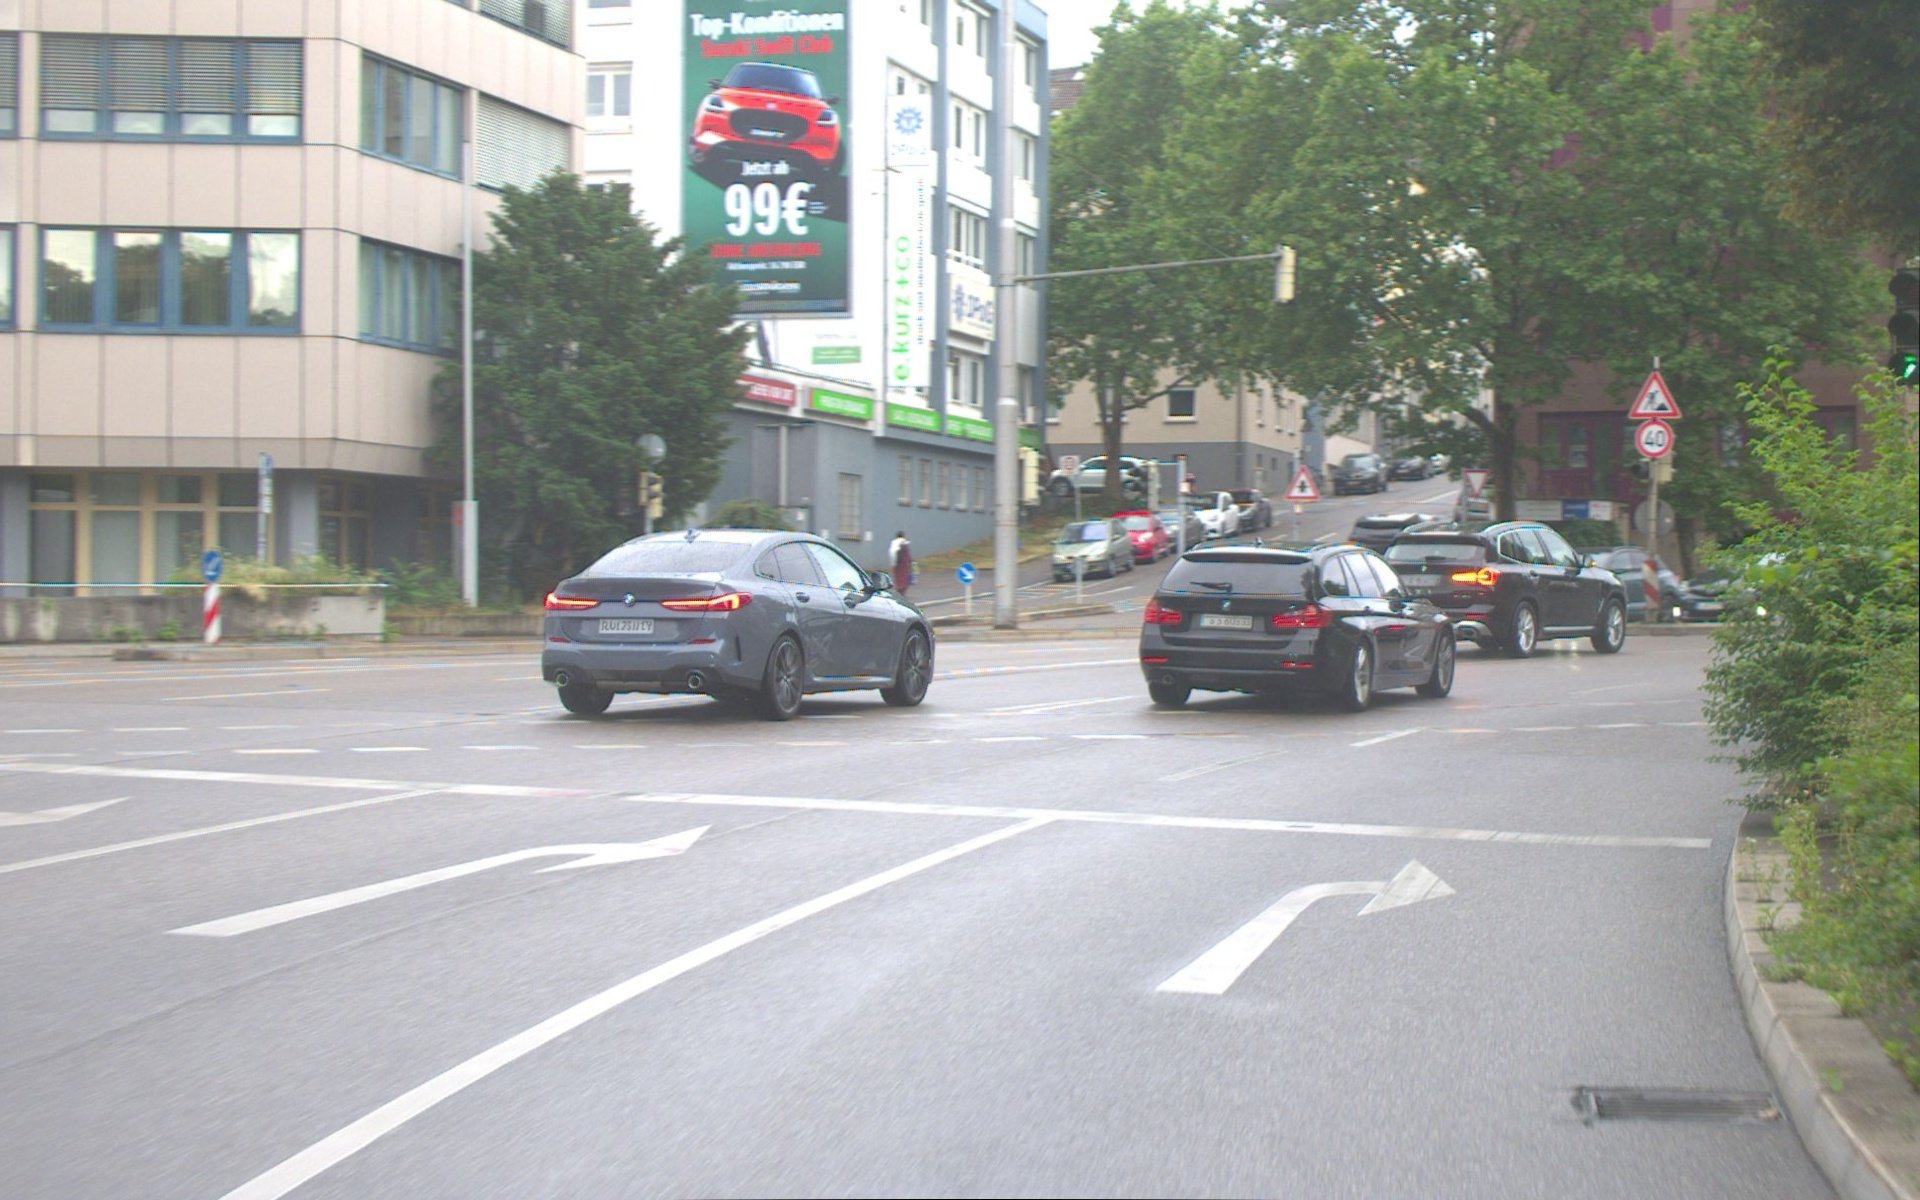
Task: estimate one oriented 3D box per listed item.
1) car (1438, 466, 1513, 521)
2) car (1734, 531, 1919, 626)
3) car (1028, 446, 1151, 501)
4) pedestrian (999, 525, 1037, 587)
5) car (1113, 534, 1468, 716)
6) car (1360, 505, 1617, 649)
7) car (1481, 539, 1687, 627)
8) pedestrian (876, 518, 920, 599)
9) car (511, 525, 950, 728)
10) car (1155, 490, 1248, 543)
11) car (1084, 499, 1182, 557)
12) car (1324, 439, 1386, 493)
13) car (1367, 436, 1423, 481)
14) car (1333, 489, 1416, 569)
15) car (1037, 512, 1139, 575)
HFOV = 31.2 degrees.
[{"bbox_3d":[17.185,-3.557,114.489,1.932,1.668,3.998,0,4,16],"label":"car"},{"bbox_3d":[15.748,-0.391,61.795,1.857,1.617,4.582,-1,0,37],"label":"car"},{"bbox_3d":[4.927,-4.794,130.494,4.419,1.999,1.999,0,0,11],"label":"car"},{"bbox_3d":[1.643,-1.240,96.936,0.839,1.712,0.981,0,0,16],"label":"pedestrian"},{"bbox_3d":[2.955,0.151,29.775,1.793,1.421,4.608,2,2,22],"label":"car"},{"bbox_3d":[6.568,-0.263,42.405,1.903,1.688,3.994,0,0,28],"label":"car"},{"bbox_3d":[11.111,-0.294,61.025,1.821,1.507,4.223,0,0,39],"label":"car"},{"bbox_3d":[-1.539,-1.021,85.467,0.839,2.007,0.981,0,0,16],"label":"pedestrian"},{"bbox_3d":[-1.684,0.153,26.873,1.792,1.421,4.380,1,1,20],"label":"car"},{"bbox_3d":[7.725,-2.667,109.650,1.835,1.426,4.067,0,5,21],"label":"car"},{"bbox_3d":[5.094,-2.116,100.852,1.834,1.426,4.067,0,5,18],"label":"car"},{"bbox_3d":[15.973,-5.396,138.785,1.995,2.007,3.997,0,0,14],"label":"car"},{"bbox_3d":[19.265,-6.270,152.234,1.995,1.836,3.998,0,4,14],"label":"car"},{"bbox_3d":[11.071,-1.912,91.639,1.931,1.861,3.999,2,5,10],"label":"car"},{"bbox_3d":[3.575,-1.588,95.356,1.834,1.458,4.175,-1,5,16],"label":"car"}]
